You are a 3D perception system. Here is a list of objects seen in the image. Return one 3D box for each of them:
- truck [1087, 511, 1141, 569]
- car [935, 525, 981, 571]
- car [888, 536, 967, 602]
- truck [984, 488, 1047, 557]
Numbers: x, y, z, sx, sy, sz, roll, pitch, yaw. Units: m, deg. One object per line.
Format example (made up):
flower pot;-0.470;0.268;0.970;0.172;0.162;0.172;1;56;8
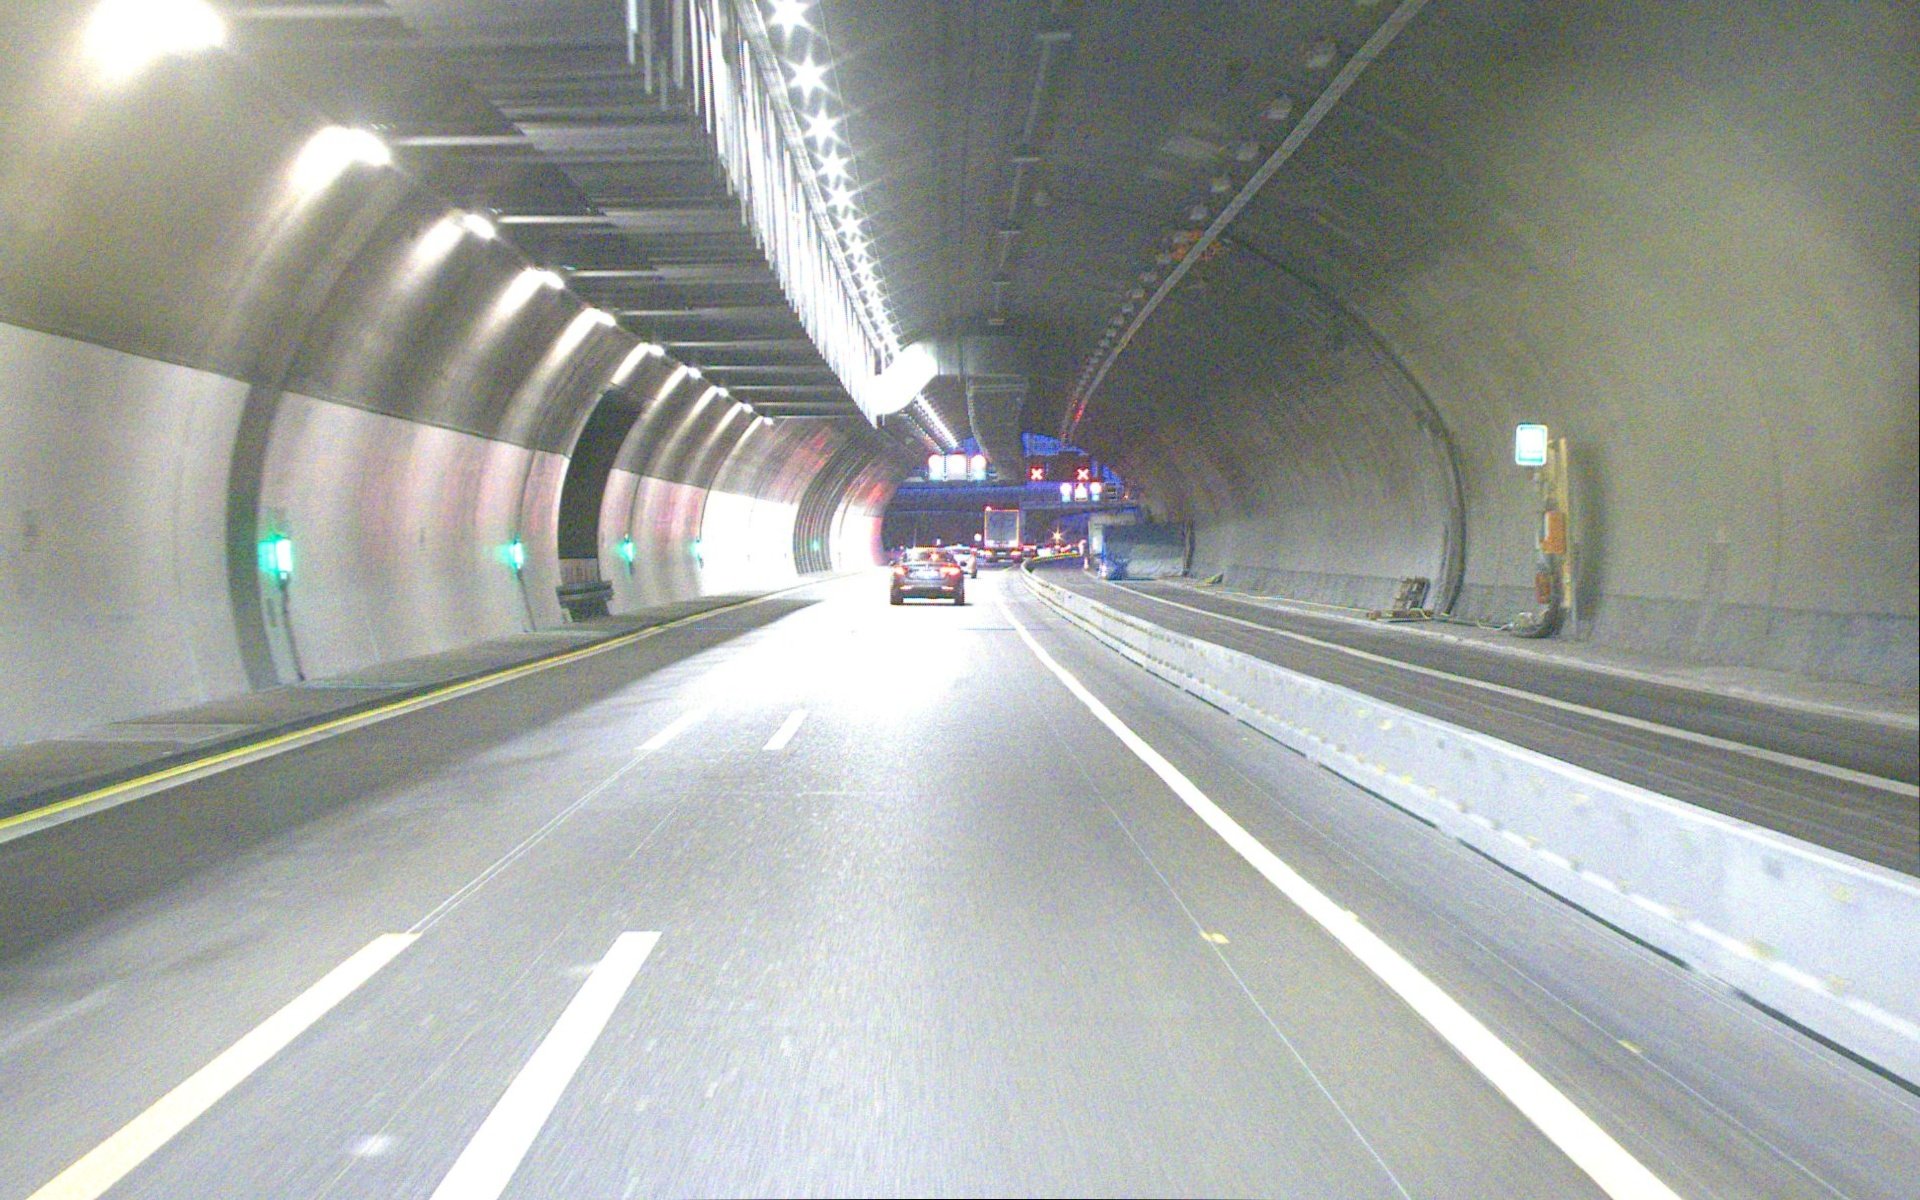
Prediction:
truck;8.936;-3.485;199.886;2.892;3.261;8.401;1;1;1
car;-0.102;-2.338;153.429;1.993;2.007;4.000;0;1;-1
car;-0.849;-0.786;87.259;1.887;1.601;4.000;1;1;-2
truck;4.118;-5.708;256.135;4.546;4.970;9.599;1;1;1
